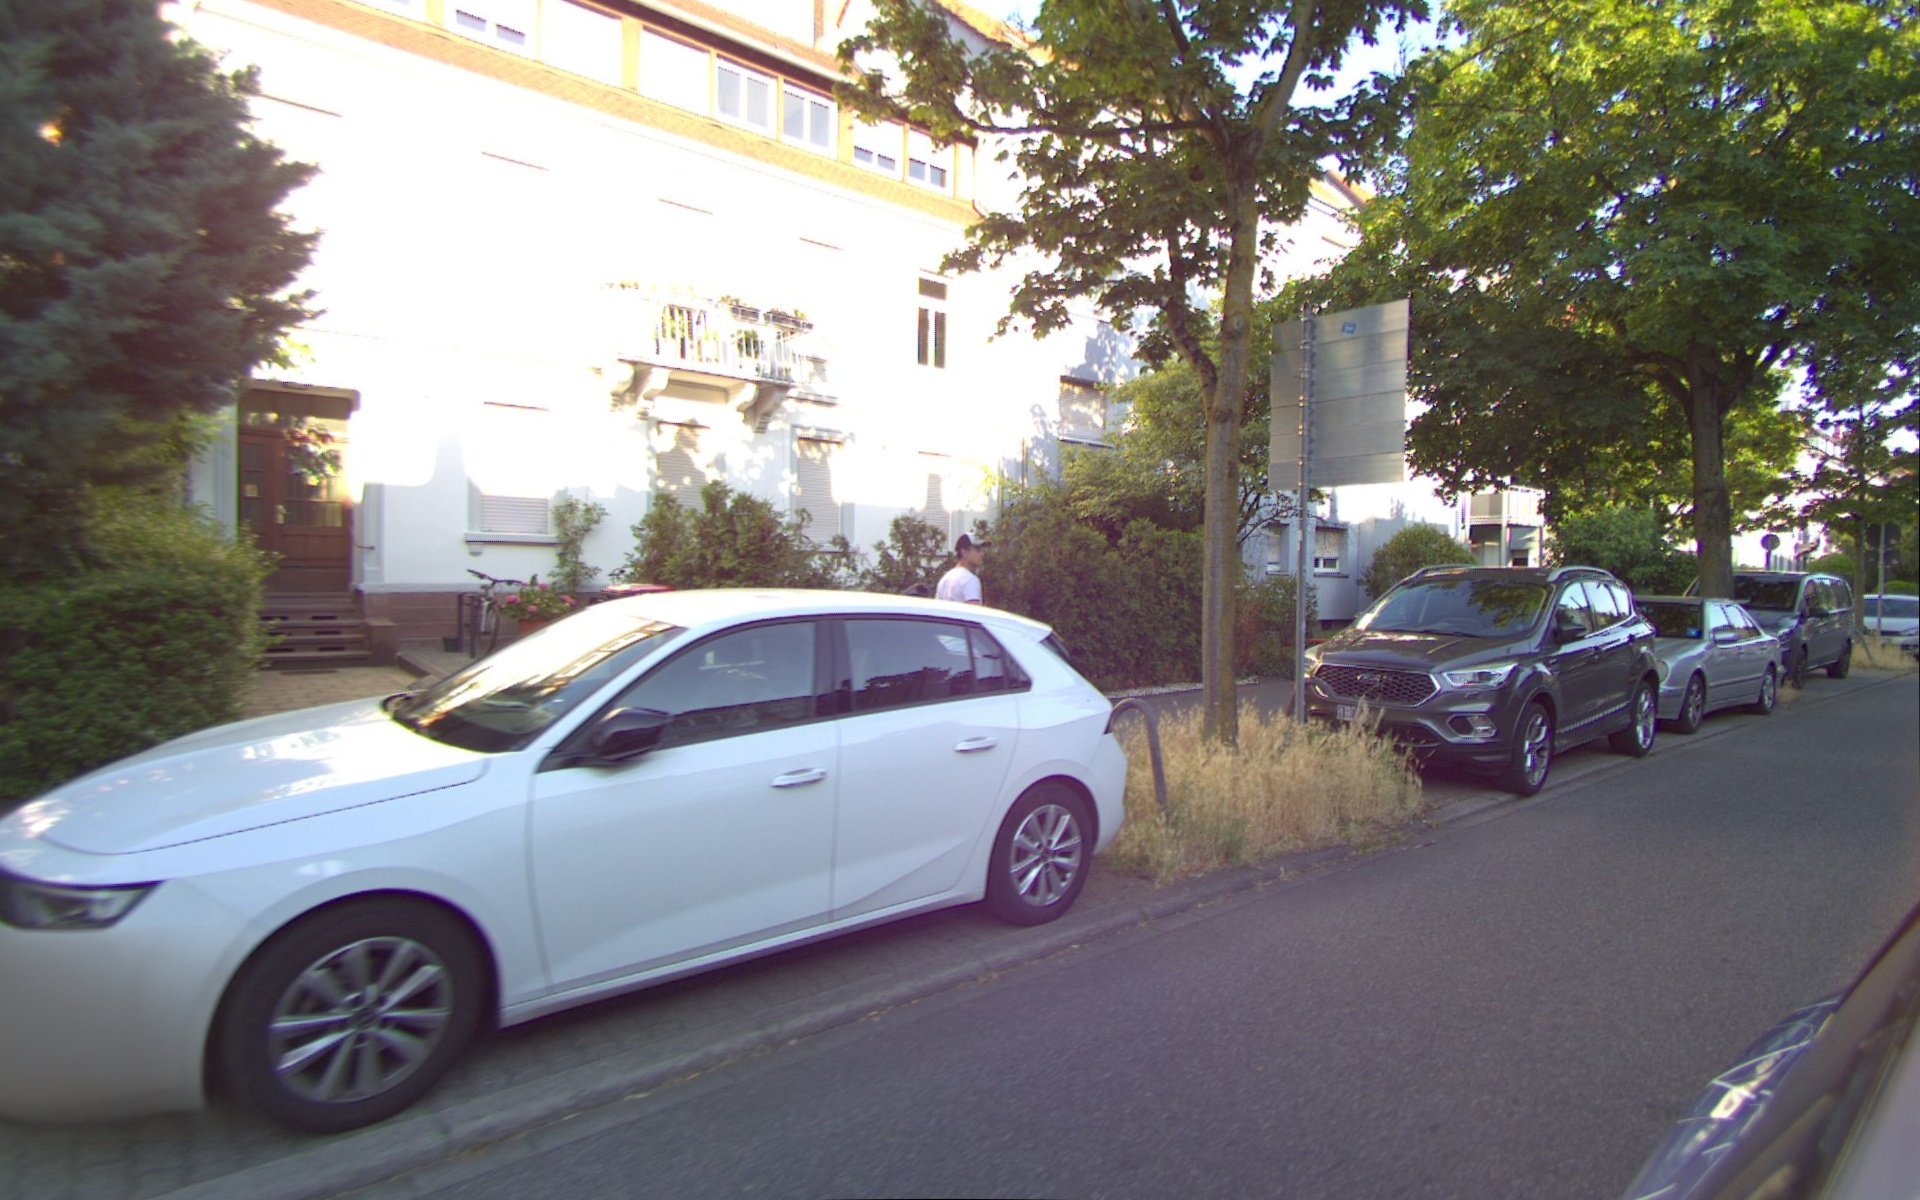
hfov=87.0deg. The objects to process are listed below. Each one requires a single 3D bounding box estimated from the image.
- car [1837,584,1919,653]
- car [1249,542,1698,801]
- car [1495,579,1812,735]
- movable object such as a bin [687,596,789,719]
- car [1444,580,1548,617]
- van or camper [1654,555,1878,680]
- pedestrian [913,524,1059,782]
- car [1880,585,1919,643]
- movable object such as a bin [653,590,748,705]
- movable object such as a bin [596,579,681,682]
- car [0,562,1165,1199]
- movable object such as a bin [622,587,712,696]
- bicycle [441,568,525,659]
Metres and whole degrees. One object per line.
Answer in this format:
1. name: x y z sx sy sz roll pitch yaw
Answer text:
1. car: 22.082 0.400 23.693 4.229 1.461 1.737 0 2 -41
2. car: 4.716 0.415 8.954 4.626 1.702 1.920 -1 3 -41
3. car: 8.411 0.529 12.101 4.743 1.523 1.789 0 1 -38
4. movable object such as a bin: -2.148 0.530 9.755 0.672 1.070 0.727 0 4 -40
5. car: 25.271 -0.110 47.761 3.987 1.574 1.969 2 4 44
6. van or camper: 14.080 0.269 17.557 5.164 1.865 1.998 1 0 -40
7. pedestrian: 0.192 0.361 7.552 0.751 1.805 0.669 -3 0 -40
8. car: 26.085 0.375 27.022 4.263 1.461 1.737 0 2 -41
9. movable object such as a bin: -2.664 0.458 10.362 0.672 1.070 0.727 0 4 -40
10. movable object such as a bin: -3.666 0.326 11.520 0.672 1.070 0.727 0 4 -40
11. car: -1.217 0.594 4.191 4.256 1.419 1.766 -1 3 -40
12. movable object such as a bin: -3.177 0.424 10.947 0.672 1.070 0.727 0 4 -40
13. bicycle: -6.280 0.141 13.282 0.656 1.107 1.728 0 2 -37
